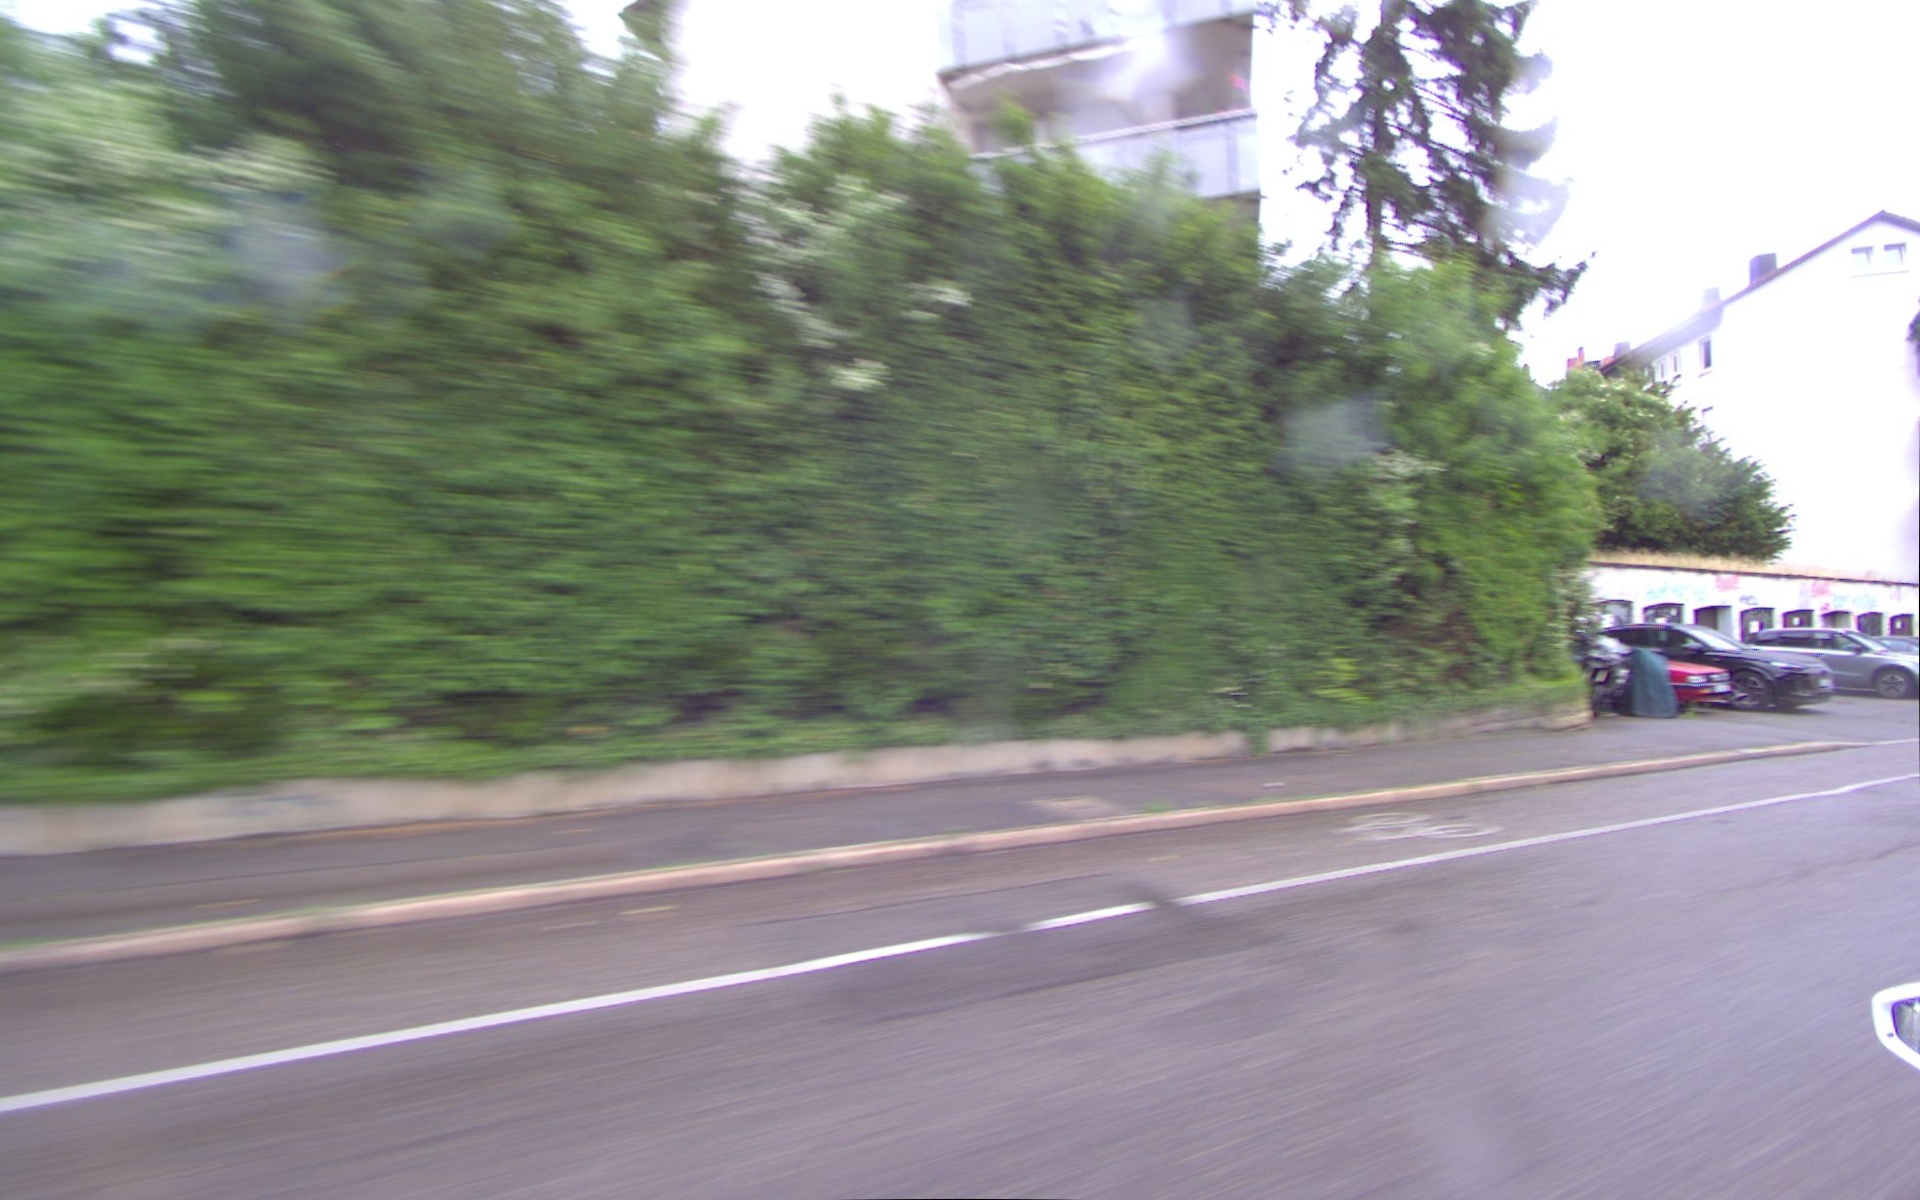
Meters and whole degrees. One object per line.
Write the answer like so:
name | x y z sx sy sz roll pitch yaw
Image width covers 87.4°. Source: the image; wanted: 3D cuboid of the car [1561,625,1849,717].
car | 15.061 1.354 20.588 1.793 1.623 4.428 1 -1 -30

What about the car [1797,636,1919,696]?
car | 23.756 1.663 25.403 1.761 1.425 3.617 2 -2 -27

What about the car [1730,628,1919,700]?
car | 21.527 1.514 24.515 1.861 1.580 3.963 2 -2 -33

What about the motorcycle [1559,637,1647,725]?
motorcycle | 10.572 1.303 16.467 2.303 1.338 0.611 3 -2 -41

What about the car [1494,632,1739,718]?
car | 12.549 1.373 19.367 1.700 1.424 3.607 2 -2 -35
